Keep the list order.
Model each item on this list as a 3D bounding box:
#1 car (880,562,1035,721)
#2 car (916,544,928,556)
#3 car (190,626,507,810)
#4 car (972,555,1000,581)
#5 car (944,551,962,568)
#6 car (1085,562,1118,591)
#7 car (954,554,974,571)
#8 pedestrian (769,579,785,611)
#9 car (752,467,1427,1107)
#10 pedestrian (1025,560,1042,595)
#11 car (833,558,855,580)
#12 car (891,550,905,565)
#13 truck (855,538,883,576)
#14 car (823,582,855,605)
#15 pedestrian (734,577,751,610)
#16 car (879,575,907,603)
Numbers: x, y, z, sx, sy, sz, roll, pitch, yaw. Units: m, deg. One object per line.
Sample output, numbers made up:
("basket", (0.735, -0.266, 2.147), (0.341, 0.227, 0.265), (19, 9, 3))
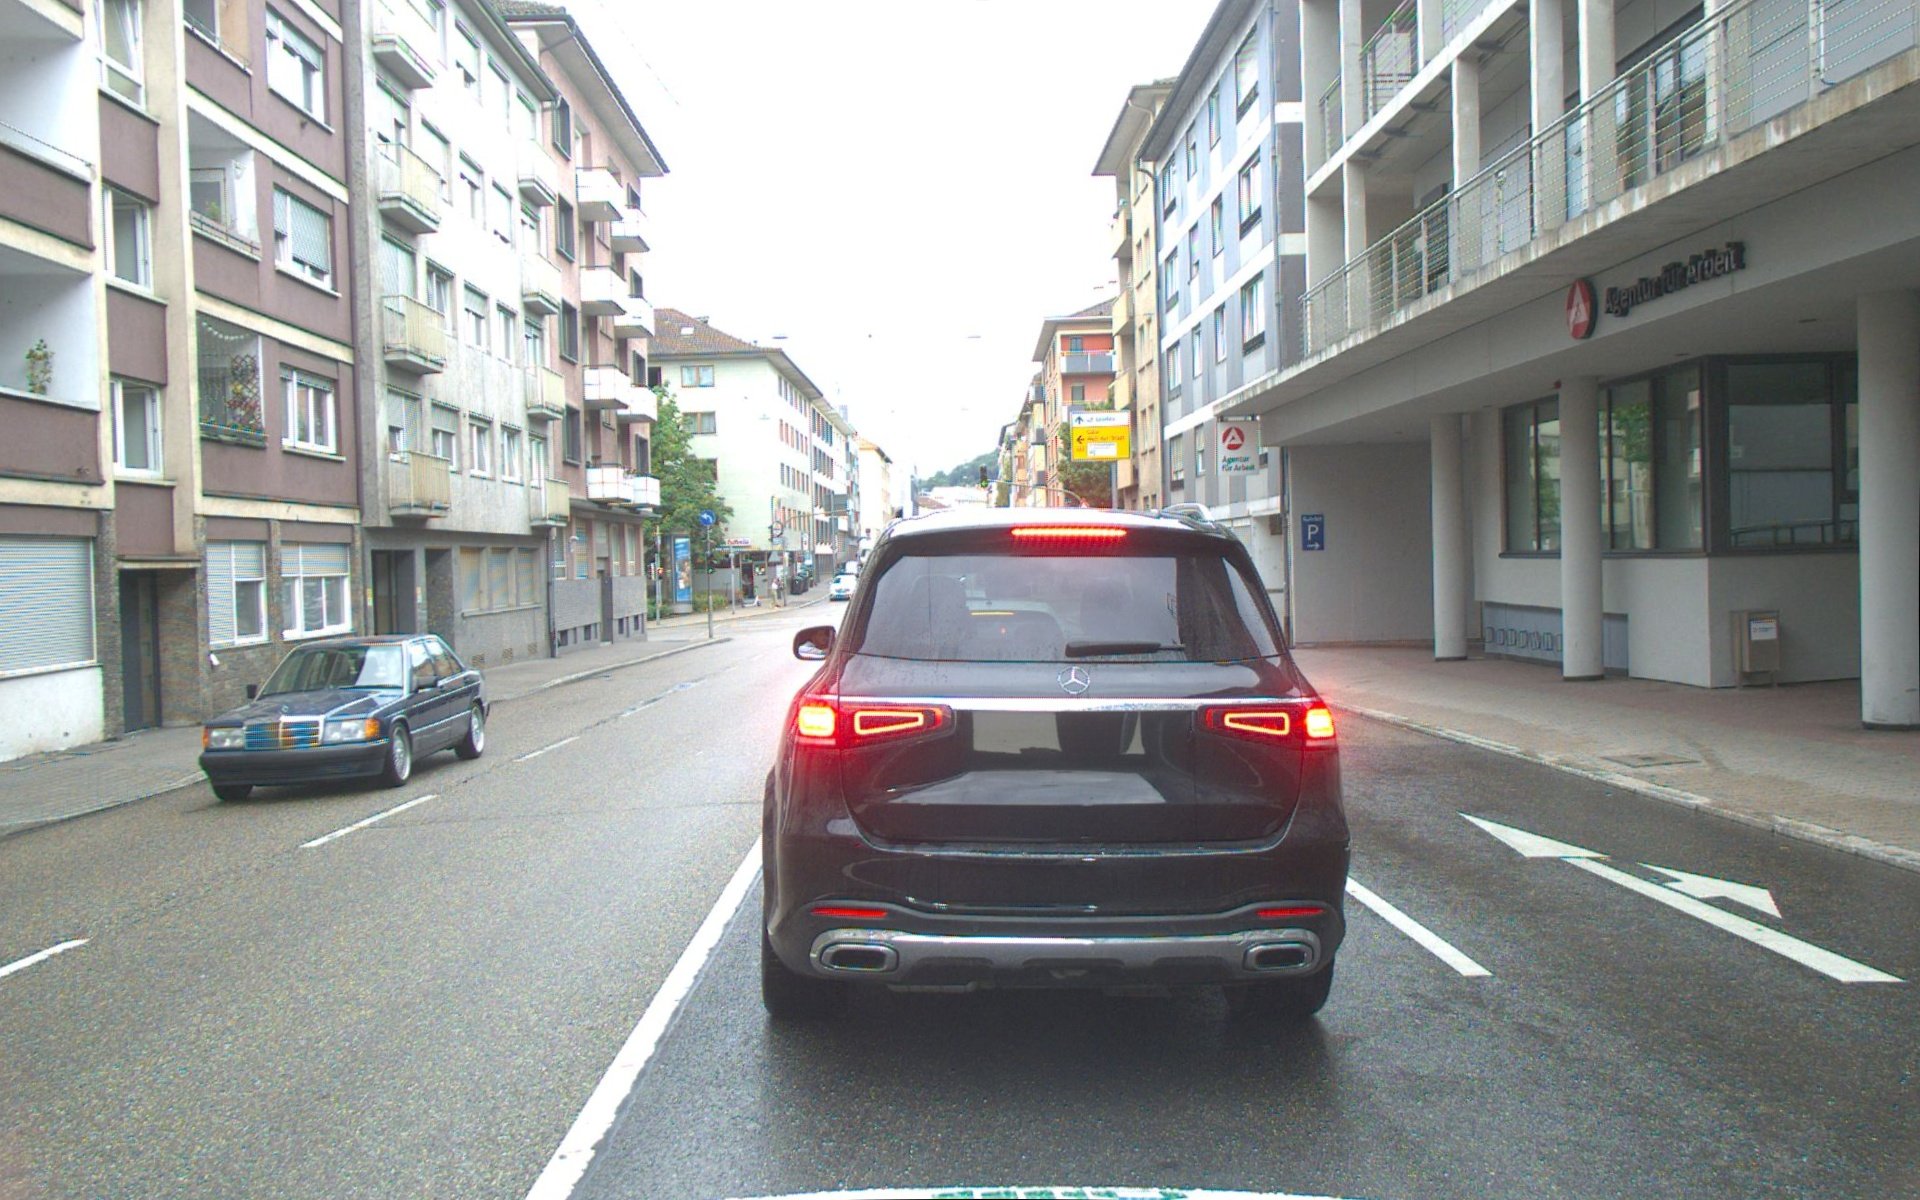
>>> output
("car", (-0.133, 0.481, 20.828), (1.716, 1.762, 4.215), (-1, 0, -3))
("car", (-5.805, -7.545, 250.149), (1.586, 1.566, 4.215), (-3, 0, -3))
("car", (-5.865, 1.047, 16.434), (1.566, 1.394, 4.361), (-4, 0, -2))
("car", (1.900, -2.373, 122.643), (1.689, 1.790, 4.215), (-3, 1, -3))
("car", (-0.692, -4.158, 170.663), (1.586, 1.566, 4.215), (-3, 0, -3))
("car", (8.098, -1.344, 94.755), (1.636, 1.616, 3.331), (-2, 1, 1))
("car", (0.379, -3.576, 158.374), (1.586, 1.411, 4.215), (-3, 0, -3))
("pedestrian", (-10.426, -0.285, 94.275), (0.622, 1.795, 0.774), (-2, 0, 16))
("car", (0.352, 0.558, 7.020), (1.944, 1.836, 4.389), (1, 0, -1))
("pedestrian", (4.423, -1.337, 99.492), (0.904, 2.049, 0.706), (-2, 0, -3))
("car", (-9.203, -2.471, 131.492), (1.586, 1.566, 4.215), (-3, 0, -3))
("car", (-7.269, -4.920, 193.607), (1.586, 1.566, 4.215), (-3, 0, -3))
("truck", (-8.590, -4.035, 156.944), (2.430, 3.099, 9.914), (-3, 0, -3))
("car", (-7.534, -0.383, 103.632), (1.848, 1.286, 4.215), (-3, 0, -3))
("pedestrian", (-13.357, -0.400, 101.588), (0.904, 1.935, 0.706), (-2, 0, -3))
("car", (-4.124, -0.635, 101.171), (1.586, 1.566, 4.215), (-3, 0, -3))
